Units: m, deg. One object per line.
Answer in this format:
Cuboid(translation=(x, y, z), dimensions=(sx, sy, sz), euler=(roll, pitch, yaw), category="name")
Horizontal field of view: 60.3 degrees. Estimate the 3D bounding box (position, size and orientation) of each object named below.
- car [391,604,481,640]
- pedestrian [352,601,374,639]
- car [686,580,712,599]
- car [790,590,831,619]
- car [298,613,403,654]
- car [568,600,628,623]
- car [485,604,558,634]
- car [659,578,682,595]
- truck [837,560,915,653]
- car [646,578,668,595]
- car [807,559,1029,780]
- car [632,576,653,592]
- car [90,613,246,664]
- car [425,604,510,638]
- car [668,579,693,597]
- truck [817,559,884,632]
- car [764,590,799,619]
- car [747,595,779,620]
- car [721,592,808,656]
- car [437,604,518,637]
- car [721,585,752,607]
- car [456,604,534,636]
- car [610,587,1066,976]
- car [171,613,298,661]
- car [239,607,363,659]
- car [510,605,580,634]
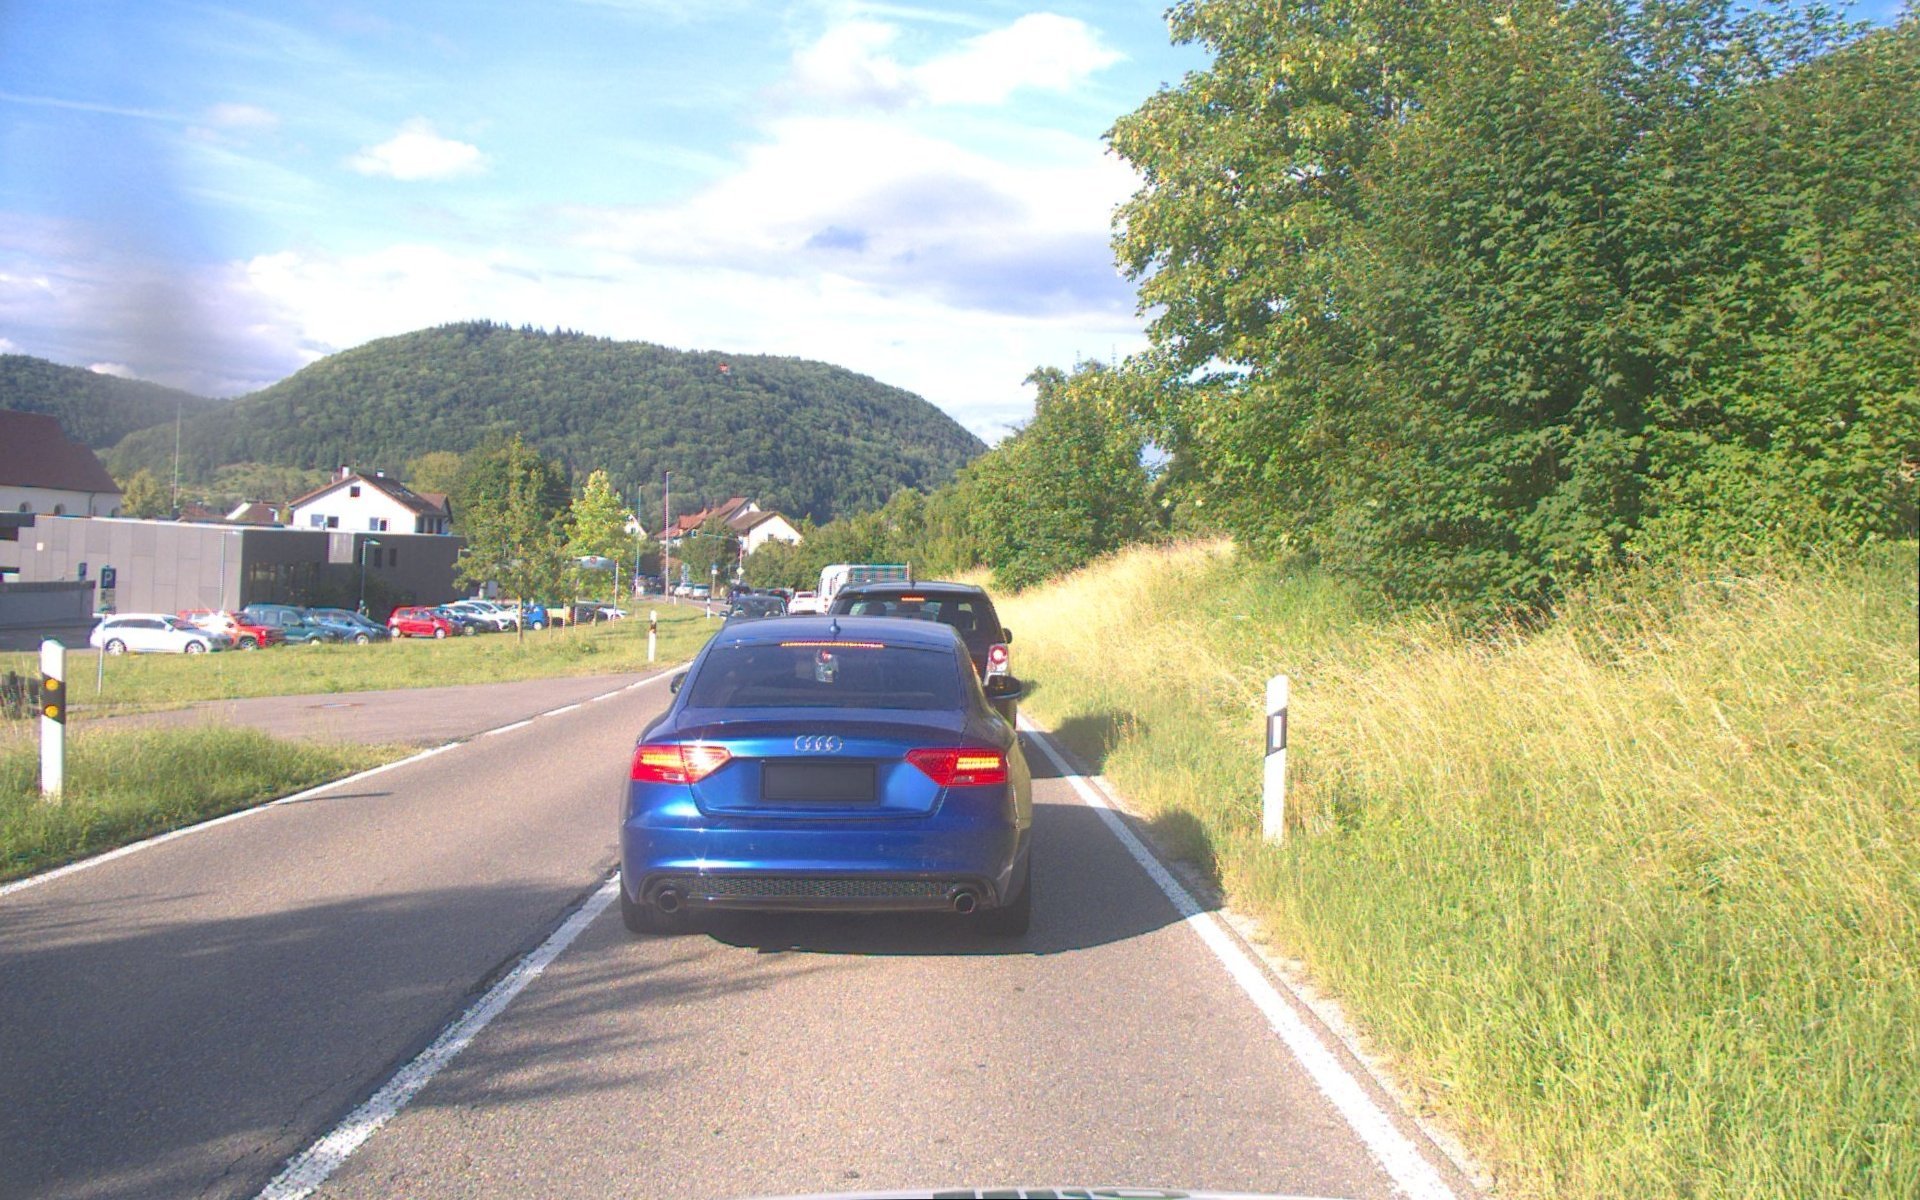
Cuboid(translation=(-26.463, 1.095, 83.626), dimensions=(3.907, 1.741, 1.999), euler=(1, 0, -3), category="car")
Cuboid(translation=(-32.701, 1.085, 90.575), dimensions=(0.808, 2.049, 0.973), euler=(1, -1, -1), category="pedestrian")
Cuboid(translation=(-24.477, -0.971, 155.175), dimensions=(1.817, 1.742, 3.980), euler=(1, 0, -18), category="car")
Cuboid(translation=(-8.291, 0.252, 91.477), dimensions=(1.813, 1.508, 3.988), euler=(1, 0, -12), category="car")
Cuboid(translation=(-26.973, 1.461, 73.322), dimensions=(3.907, 1.741, 1.999), euler=(1, 0, -3), category="car")
Cuboid(translation=(-25.814, 0.823, 118.152), dimensions=(3.907, 1.606, 1.751), euler=(1, 0, -3), category="car")
Cuboid(translation=(-26.739, 1.175, 100.898), dimensions=(3.907, 1.741, 1.999), euler=(1, 0, -3), category="car")
Cuboid(translation=(-30.536, -1.385, 174.137), dimensions=(1.817, 1.742, 3.979), euler=(1, 0, -19), category="car")
Cuboid(translation=(-2.570, 0.190, 50.329), dimensions=(2.185, 2.615, 6.099), euler=(1, 0, -3), category="truck")
Cuboid(translation=(-34.022, -1.506, 185.587), dimensions=(1.817, 1.742, 3.979), euler=(1, 0, -19), category="car")
Cuboid(translation=(-0.325, 0.554, 14.890), dimensions=(1.718, 1.710, 3.846), euler=(1, 0, 0), category="car")
Cuboid(translation=(-37.409, -1.885, 194.766), dimensions=(1.817, 1.742, 3.978), euler=(1, 0, -19), category="car")
Cuboid(translation=(-28.653, 1.368, 59.975), dimensions=(4.637, 1.741, 1.999), euler=(1, 0, -3), category="car")
Cuboid(translation=(-26.238, 1.121, 88.178), dimensions=(3.907, 1.741, 1.999), euler=(1, 0, -3), category="car")
Cuboid(translation=(-27.801, -1.137, 164.539), dimensions=(1.817, 1.742, 3.979), euler=(1, 0, -19), category="car")
Cuboid(translation=(-4.285, -0.153, 63.630), dimensions=(2.187, 2.615, 6.697), euler=(1, 0, -7), category="truck")
Cuboid(translation=(-11.268, 0.264, 104.162), dimensions=(1.813, 1.742, 3.988), euler=(1, 0, -12), category="car")
Cuboid(translation=(-14.496, 0.537, 121.629), dimensions=(1.814, 1.742, 3.986), euler=(1, 0, -14), category="car")
Cuboid(translation=(-4.700, 0.567, 40.217), dimensions=(1.669, 1.455, 4.049), euler=(1, 0, -1), category="car")
Cuboid(translation=(-26.761, 1.130, 91.827), dimensions=(3.907, 1.741, 1.999), euler=(1, 0, -3), category="car")
Cuboid(translation=(-18.082, -0.315, 133.554), dimensions=(1.817, 1.742, 3.980), euler=(1, 0, -18), category="car")
Cuboid(translation=(-26.710, 1.147, 95.112), dimensions=(3.907, 1.741, 1.999), euler=(1, 0, -3), category="car")
Cuboid(translation=(-0.459, 0.702, 8.239), dimensions=(1.718, 1.455, 3.846), euler=(1, 0, 0), category="car")
Cuboid(translation=(-27.590, 1.401, 62.999), dimensions=(3.907, 1.741, 1.999), euler=(1, 0, -3), category="car")
Cuboid(translation=(-27.367, 1.363, 68.814), dimensions=(4.318, 2.043, 1.999), euler=(1, 0, -3), category="car")
Cuboid(translation=(-25.963, 1.201, 103.584), dimensions=(3.907, 1.741, 1.999), euler=(1, 0, -3), category="car")
